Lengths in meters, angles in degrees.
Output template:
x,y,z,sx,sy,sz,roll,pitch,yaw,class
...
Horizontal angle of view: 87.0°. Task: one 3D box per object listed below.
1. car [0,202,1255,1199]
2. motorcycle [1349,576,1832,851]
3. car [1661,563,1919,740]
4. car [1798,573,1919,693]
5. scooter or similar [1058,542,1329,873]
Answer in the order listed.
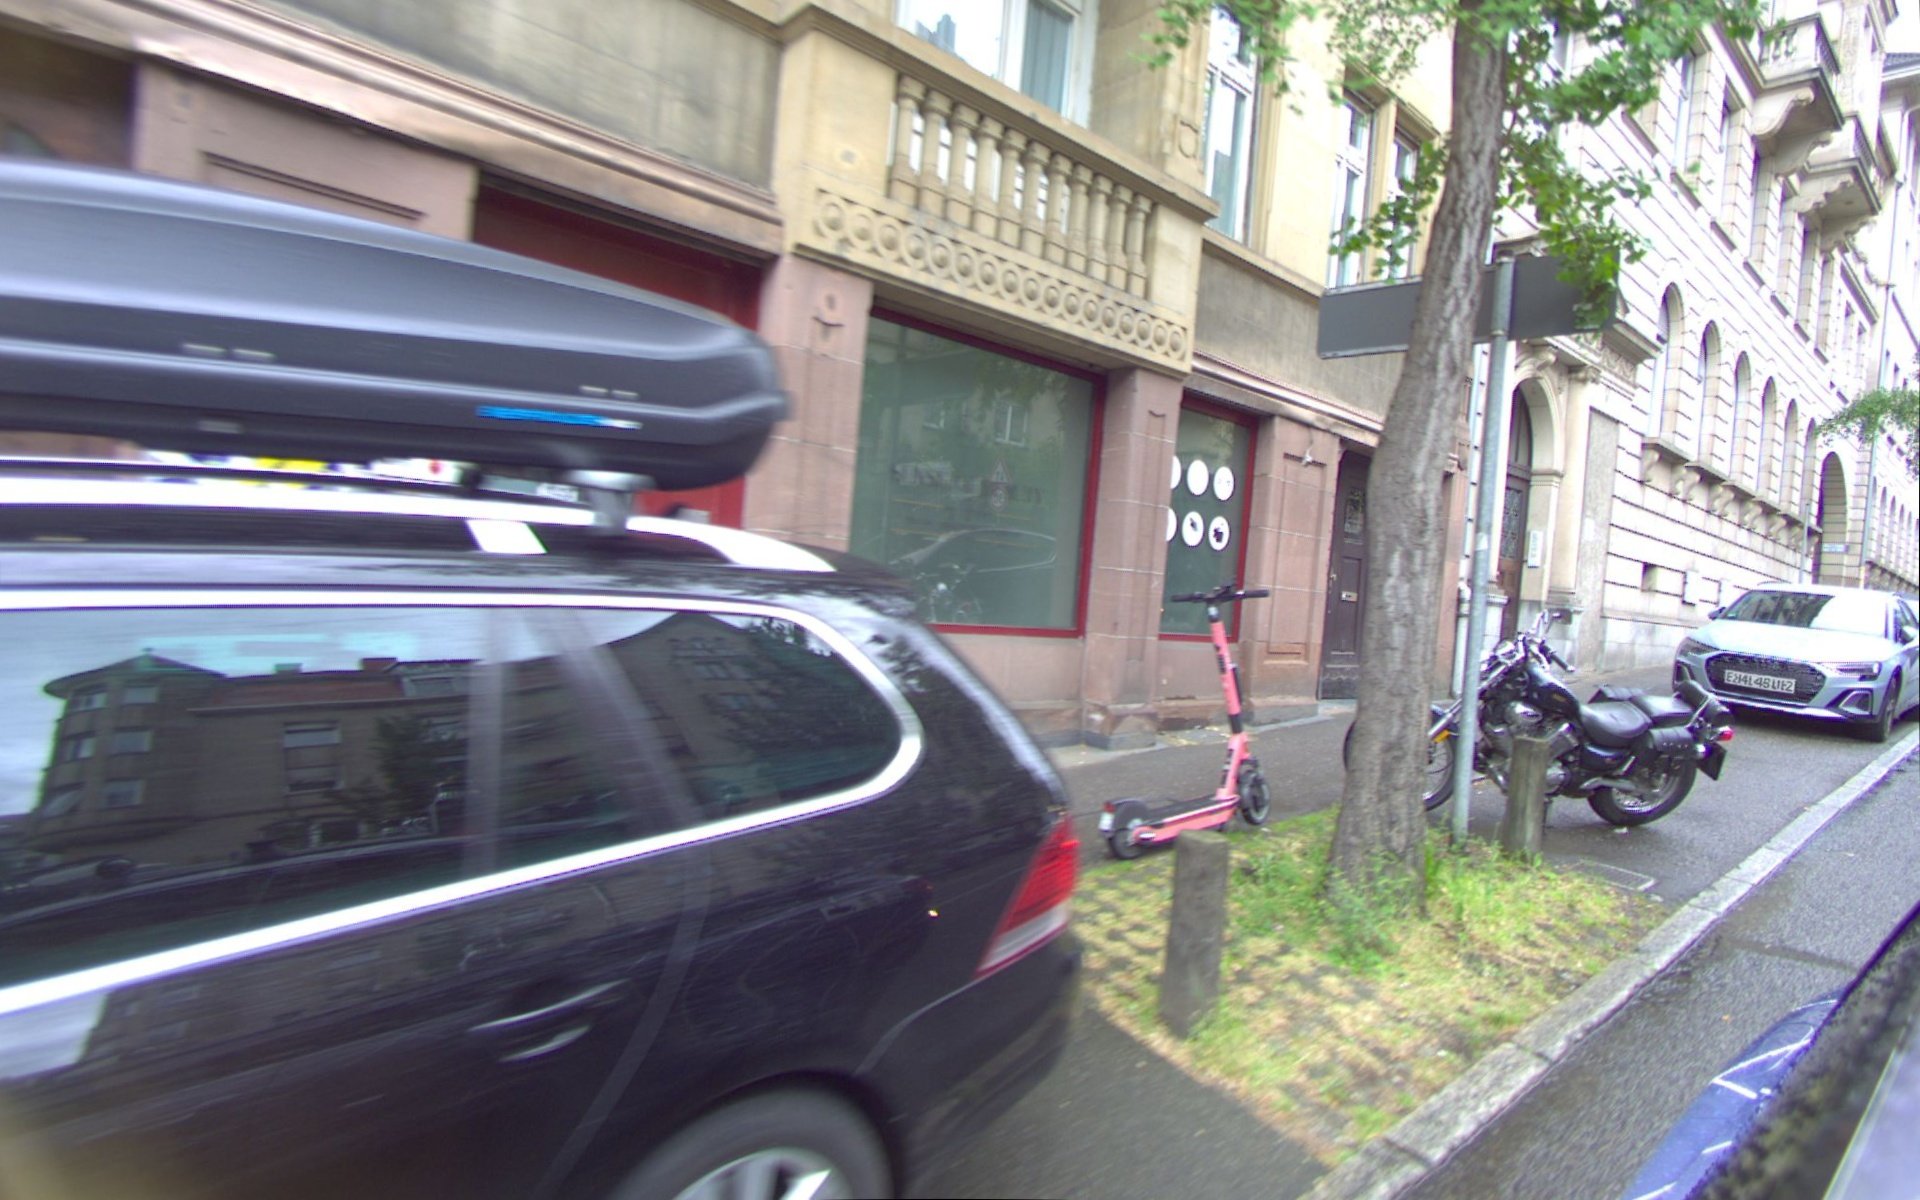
x,y,z,sx,sy,sz,roll,pitch,yaw,class
-1.603,0.405,1.338,4.026,1.670,1.765,0,7,-40,car
3.432,0.603,5.609,2.232,1.258,0.525,5,4,-2,motorcycle
9.392,0.439,11.045,3.967,1.469,1.795,0,6,-40,car
13.438,0.424,14.554,3.125,1.466,1.496,0,6,-40,car
1.111,0.427,4.729,1.182,1.334,0.594,0,3,-41,scooter or similar
